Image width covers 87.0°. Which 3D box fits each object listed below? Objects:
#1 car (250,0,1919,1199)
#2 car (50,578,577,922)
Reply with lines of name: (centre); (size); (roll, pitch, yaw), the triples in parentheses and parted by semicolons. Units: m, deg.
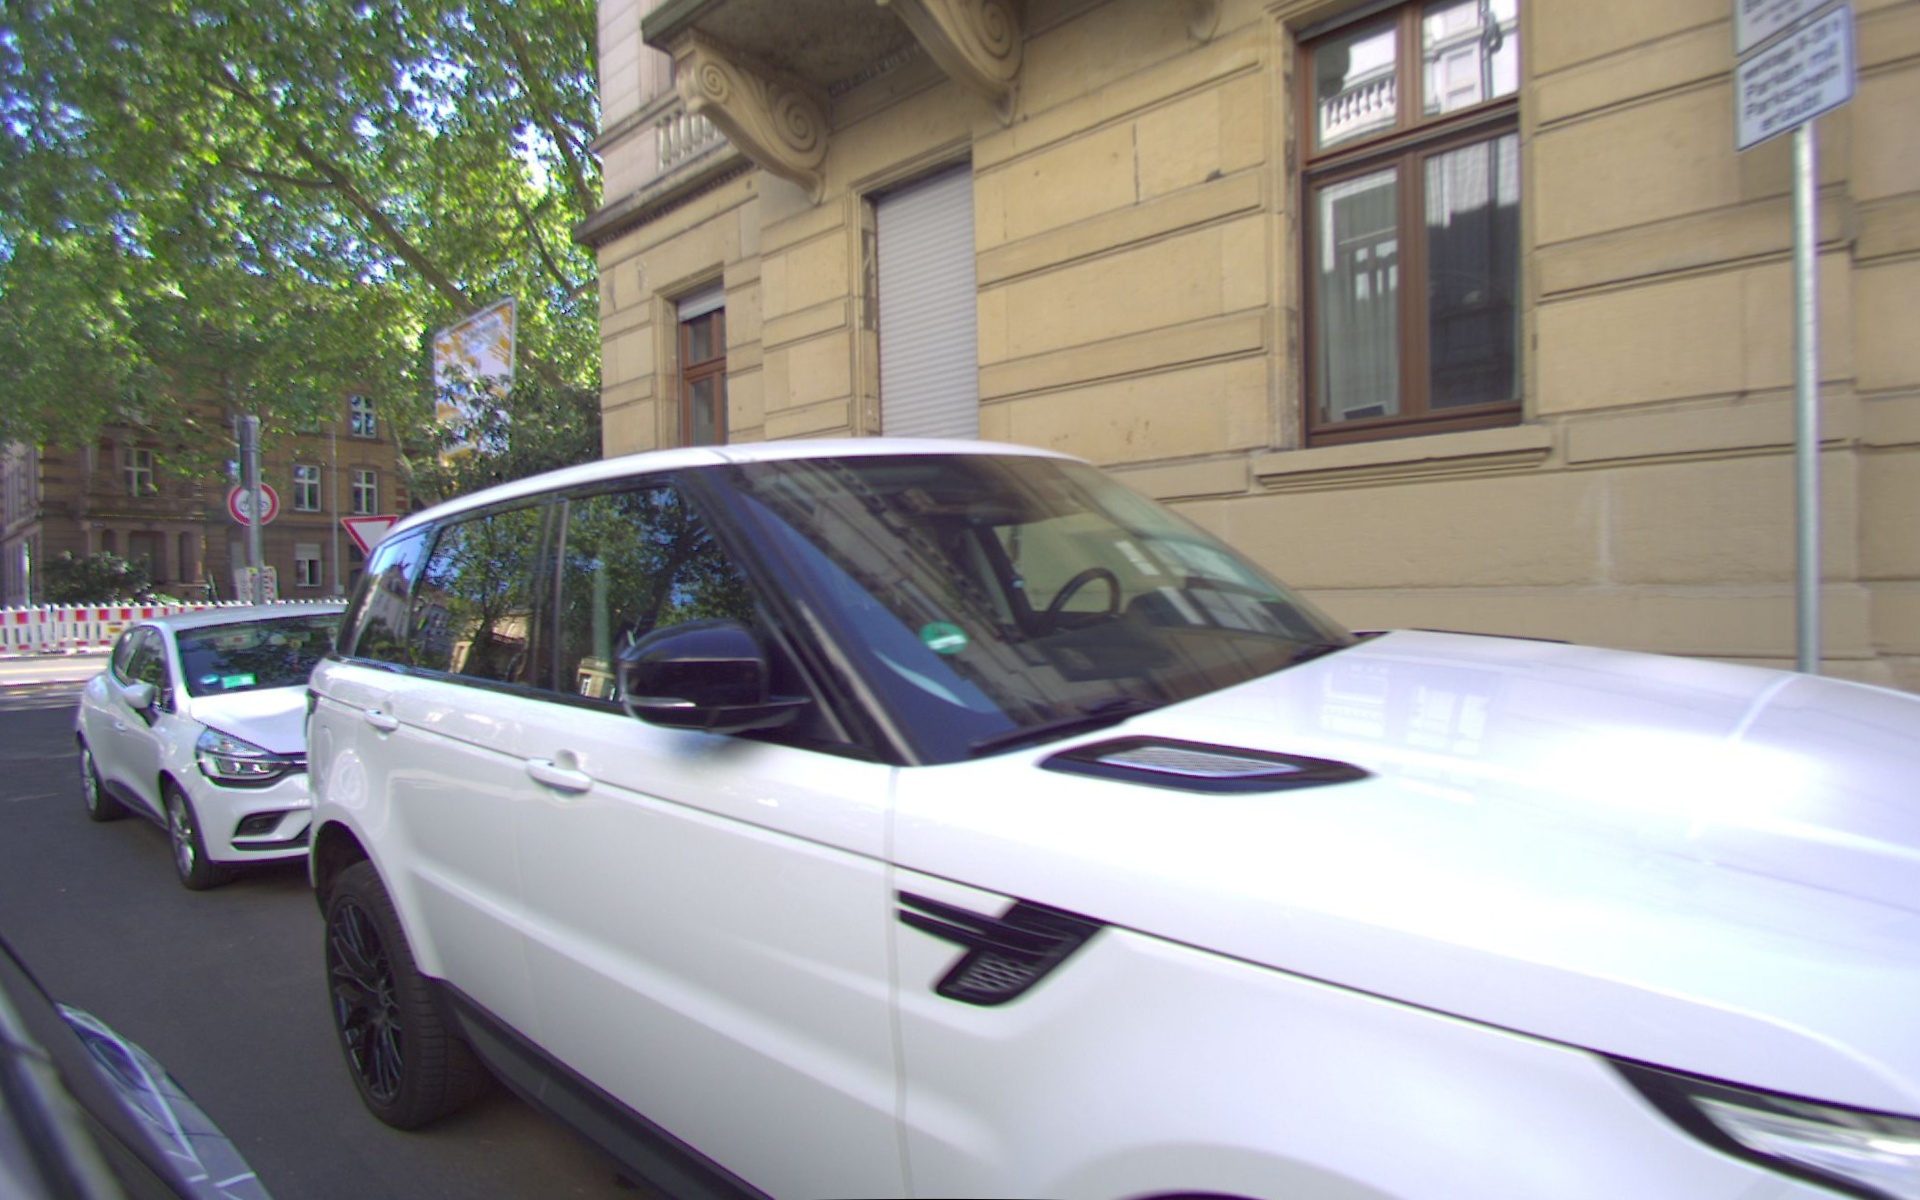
car: (0.026, 0.431, 2.534); (4.542, 2.029, 2.000); (-1, 0, 42)
car: (-4.457, 0.698, 6.749); (3.939, 1.573, 1.848); (0, 2, 40)
